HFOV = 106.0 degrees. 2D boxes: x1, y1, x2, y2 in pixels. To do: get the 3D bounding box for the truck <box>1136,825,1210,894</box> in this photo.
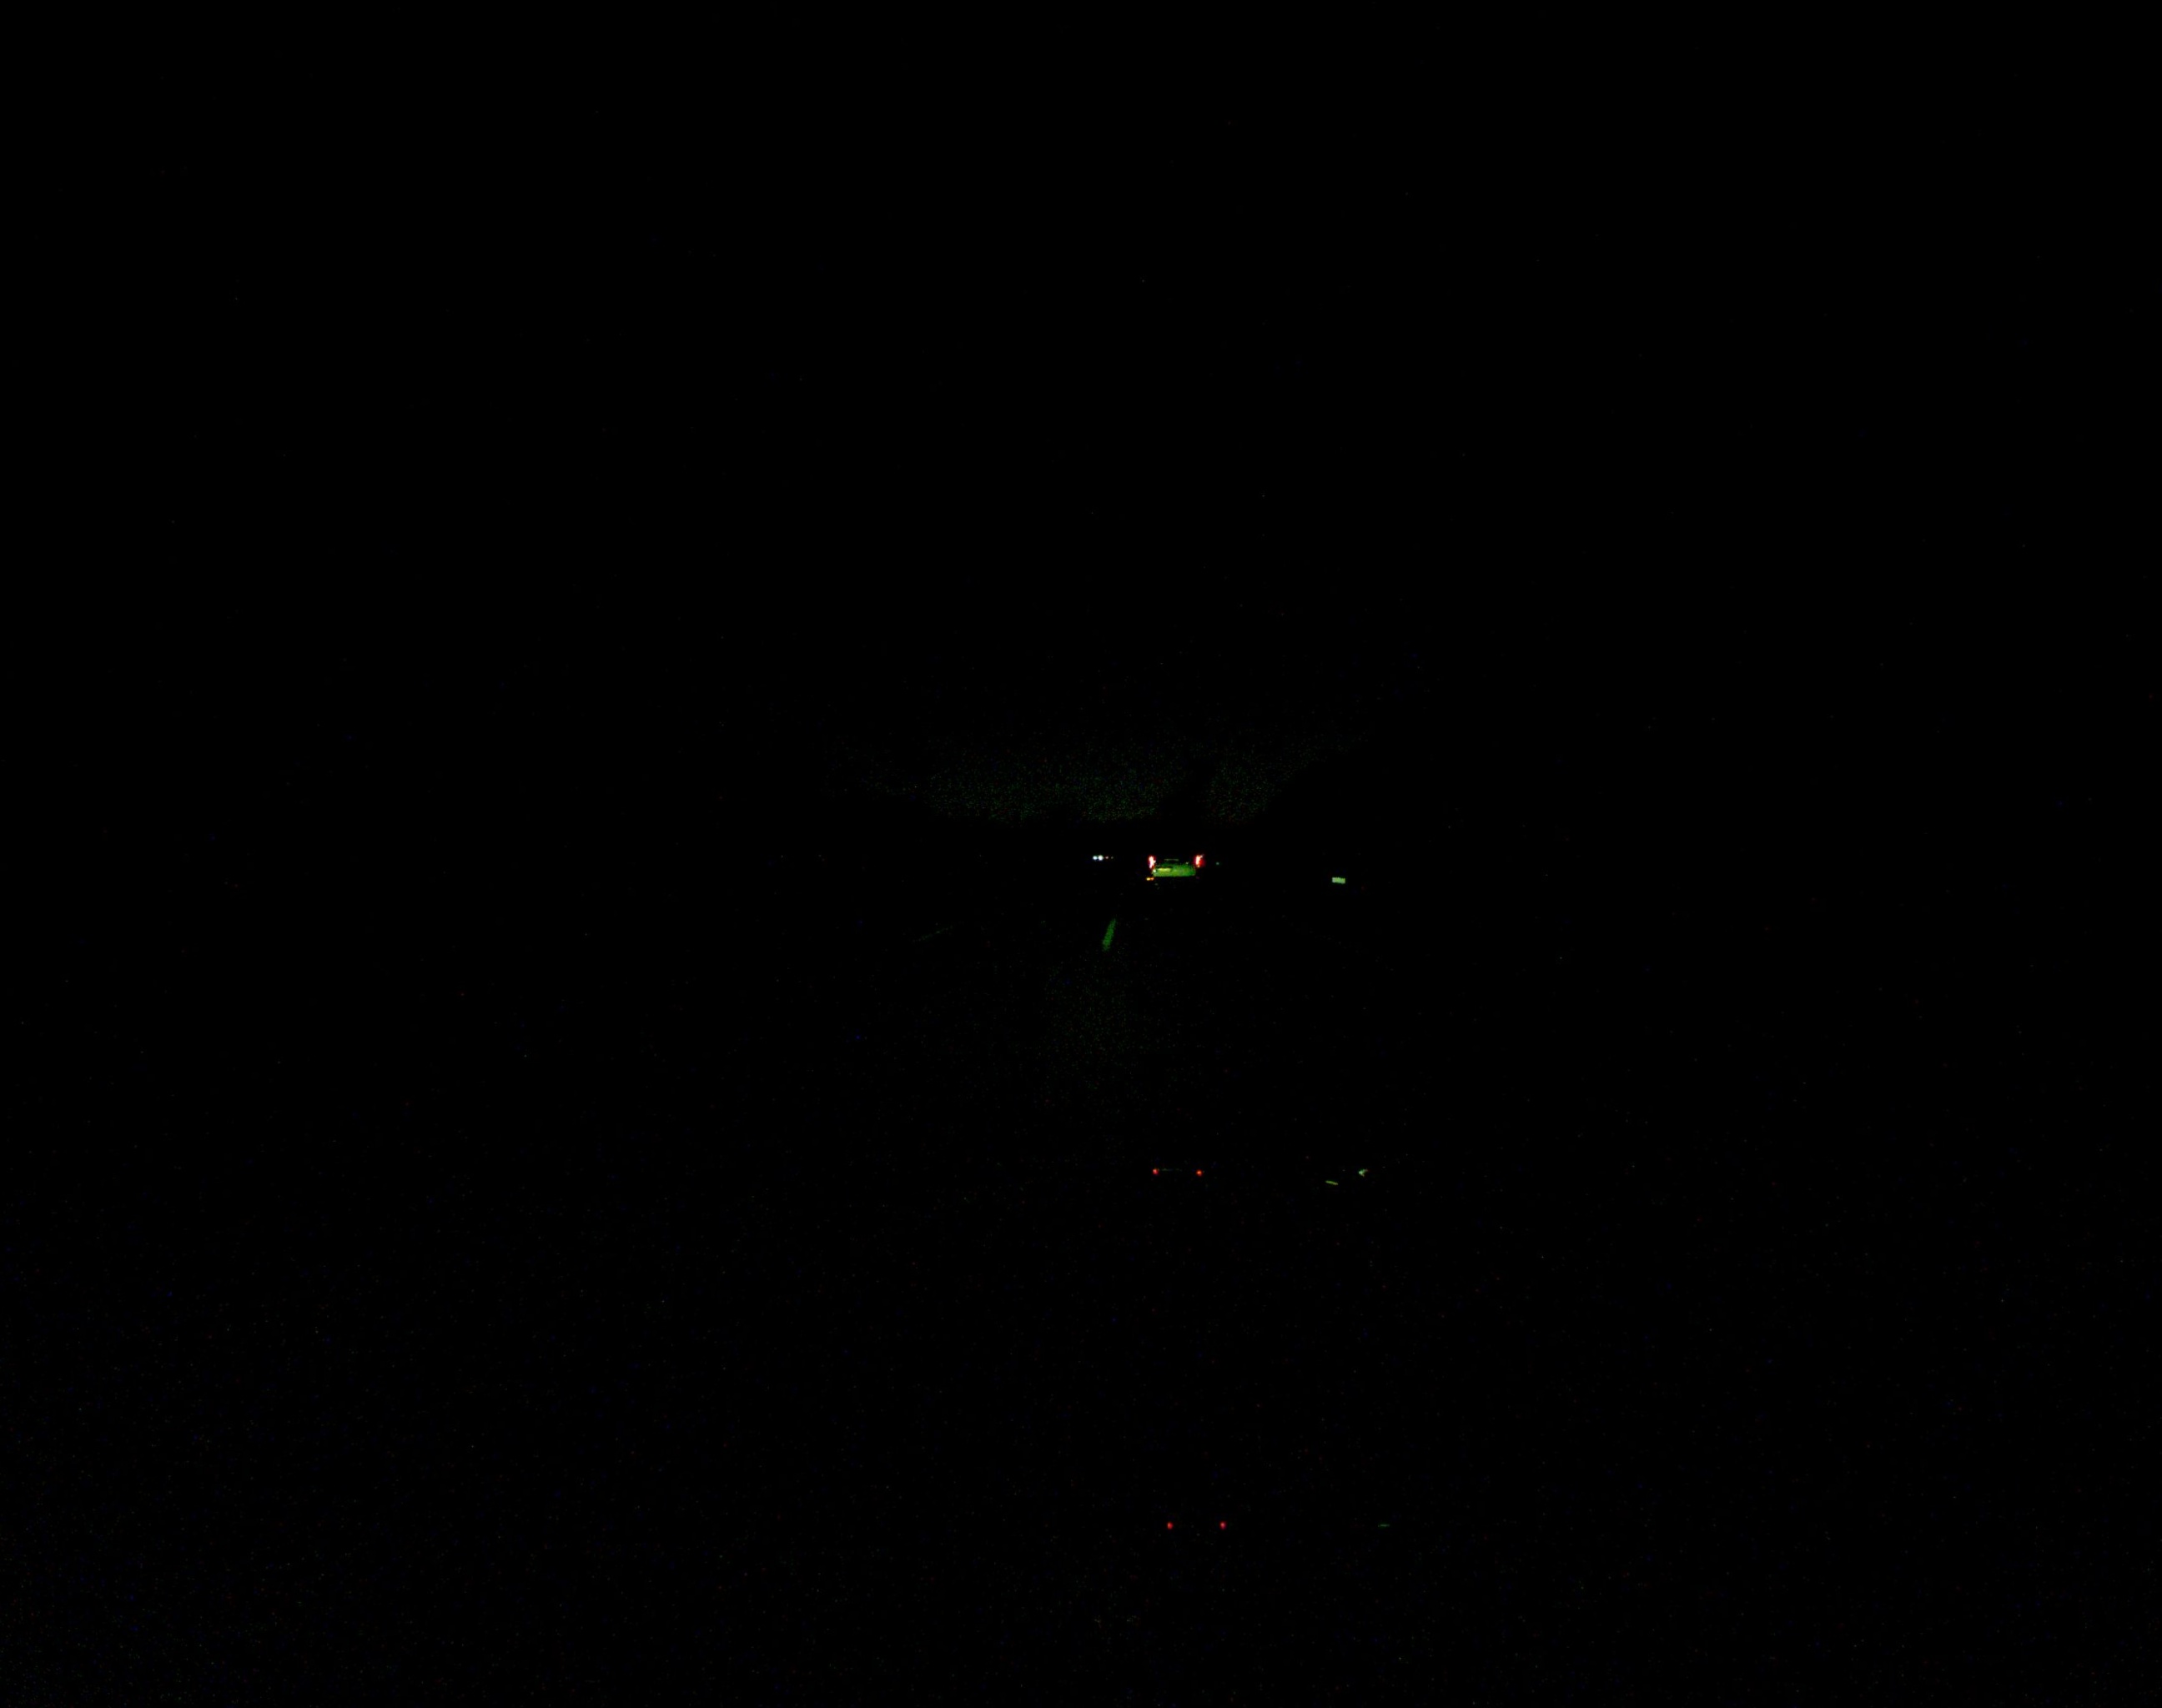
[{"bbox_3d":[3.846,0.269,35.943,2.620,2.624,8.689,-1,-1,2],"label":"truck"}]
